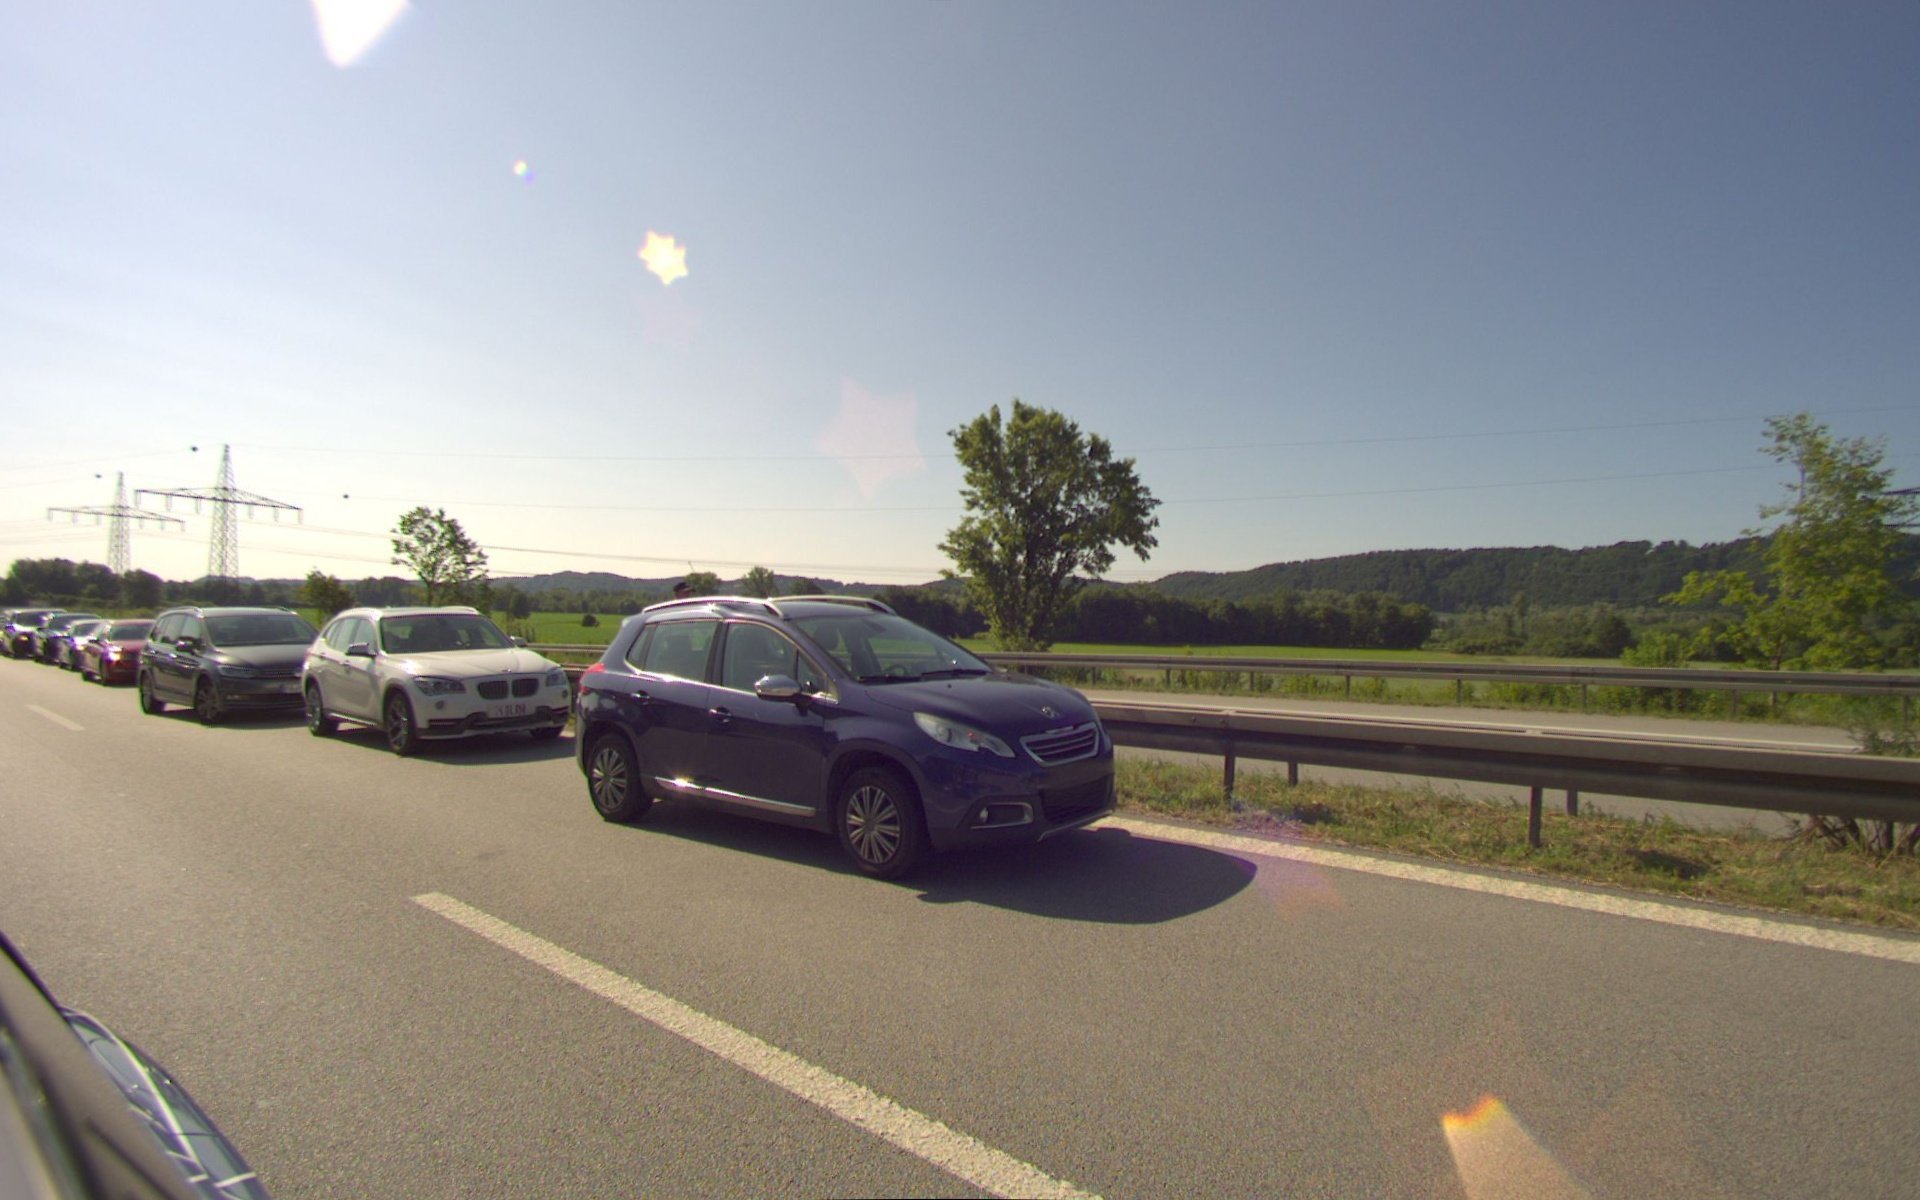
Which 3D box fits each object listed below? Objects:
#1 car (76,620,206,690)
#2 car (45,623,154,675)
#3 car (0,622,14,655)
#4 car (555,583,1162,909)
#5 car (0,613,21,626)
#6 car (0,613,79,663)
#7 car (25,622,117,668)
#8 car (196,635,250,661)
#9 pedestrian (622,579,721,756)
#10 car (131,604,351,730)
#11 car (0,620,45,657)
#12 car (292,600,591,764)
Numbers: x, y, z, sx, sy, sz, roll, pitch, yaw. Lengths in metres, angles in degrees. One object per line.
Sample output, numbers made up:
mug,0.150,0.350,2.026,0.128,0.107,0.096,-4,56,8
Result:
car,-19.181,1.227,23.643,4.117,1.470,1.795,-1,-2,43
car,-25.366,1.392,29.784,3.998,1.409,1.870,-1,-2,41
car,-47.521,1.861,49.128,3.998,1.542,1.973,-1,-2,41
car,-0.844,0.713,6.694,3.944,1.546,1.671,-1,0,39
car,-129.596,2.646,138.034,4.393,1.644,1.838,-1,0,43
car,-35.043,1.424,38.403,4.198,1.801,1.877,-1,-2,41
car,-29.828,1.470,33.929,3.999,1.466,1.869,-1,-2,42
car,-43.912,2.851,60.287,4.565,1.424,1.694,-1,-1,42
pedestrian,-3.028,0.689,10.626,0.814,1.764,0.663,-1,-2,41
car,-10.872,0.908,15.203,4.115,1.628,1.796,-1,-1,41
car,-40.522,1.612,43.025,3.998,1.542,1.973,-1,-2,41
car,-6.216,0.840,11.926,4.163,1.586,1.808,-1,-1,42
